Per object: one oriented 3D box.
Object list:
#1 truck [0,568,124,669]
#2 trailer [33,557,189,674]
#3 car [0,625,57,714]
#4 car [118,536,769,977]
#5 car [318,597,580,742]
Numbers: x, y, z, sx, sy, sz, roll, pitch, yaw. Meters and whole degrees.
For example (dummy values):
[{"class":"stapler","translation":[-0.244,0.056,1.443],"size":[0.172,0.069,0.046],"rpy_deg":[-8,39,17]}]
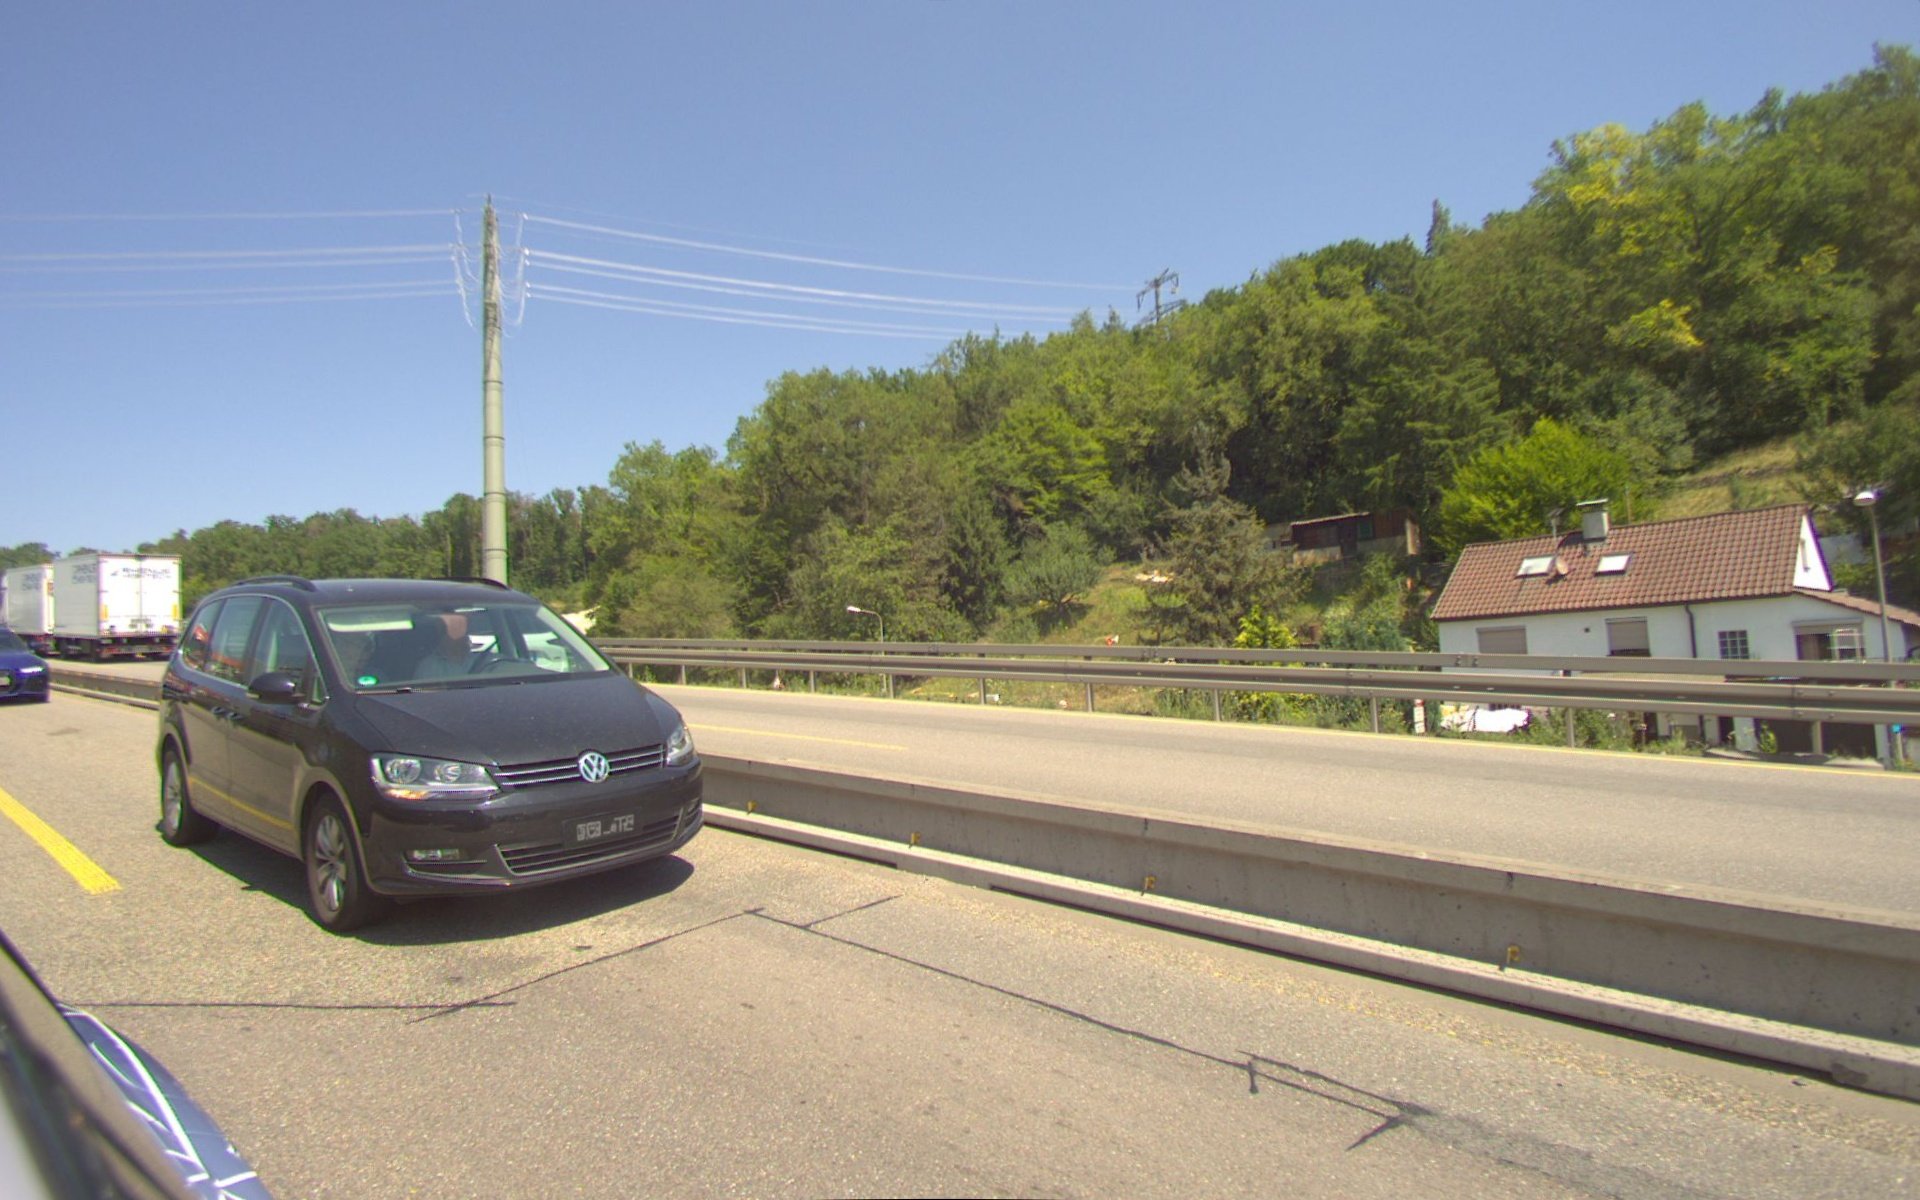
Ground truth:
[{"class":"truck","translation":[-41.624,0.920,46.370],"size":[10.530,4.194,2.950],"rpy_deg":[-2,-2,38]},{"class":"trailer","translation":[-33.952,0.656,40.315],"size":[9.004,4.197,2.975],"rpy_deg":[-2,-1,38]},{"class":"car","translation":[-19.037,1.313,19.462],"size":[4.782,1.567,1.872],"rpy_deg":[-2,-2,40]},{"class":"car","translation":[-3.607,0.690,6.399],"size":[5.301,1.719,1.837],"rpy_deg":[-2,-2,41]},{"class":"car","translation":[-7.169,0.827,13.995],"size":[4.385,1.699,1.732],"rpy_deg":[0,0,41]}]
